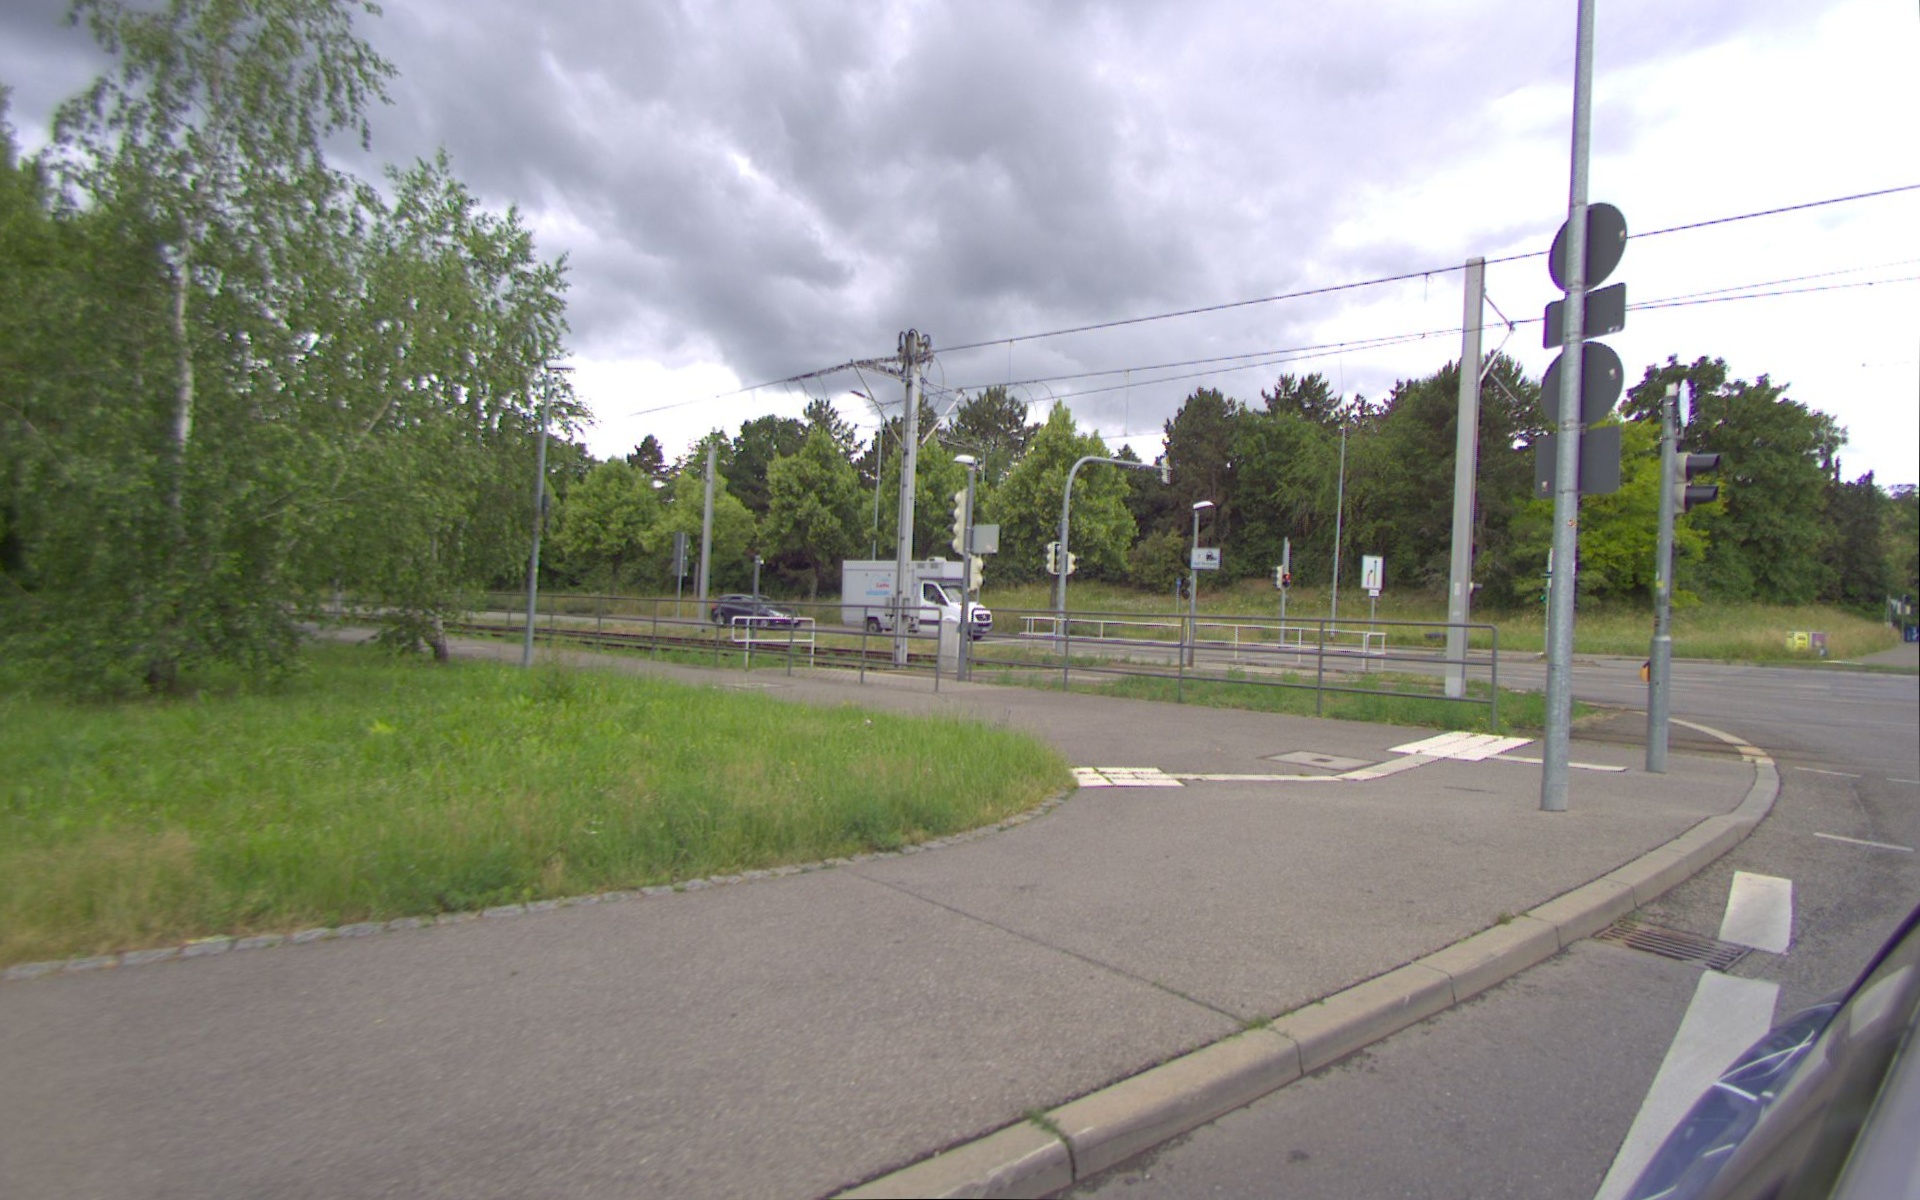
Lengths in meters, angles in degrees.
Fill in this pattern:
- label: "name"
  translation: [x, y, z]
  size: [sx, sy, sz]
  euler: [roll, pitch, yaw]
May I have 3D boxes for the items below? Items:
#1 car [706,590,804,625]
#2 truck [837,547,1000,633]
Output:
- label: "car"
  translation: [-8.818, 0.294, 43.499]
  size: [3.975, 1.416, 1.975]
  euler: [1, 0, 35]
- label: "truck"
  translation: [-1.671, -0.454, 38.738]
  size: [6.230, 3.047, 2.087]
  euler: [1, 3, 34]
